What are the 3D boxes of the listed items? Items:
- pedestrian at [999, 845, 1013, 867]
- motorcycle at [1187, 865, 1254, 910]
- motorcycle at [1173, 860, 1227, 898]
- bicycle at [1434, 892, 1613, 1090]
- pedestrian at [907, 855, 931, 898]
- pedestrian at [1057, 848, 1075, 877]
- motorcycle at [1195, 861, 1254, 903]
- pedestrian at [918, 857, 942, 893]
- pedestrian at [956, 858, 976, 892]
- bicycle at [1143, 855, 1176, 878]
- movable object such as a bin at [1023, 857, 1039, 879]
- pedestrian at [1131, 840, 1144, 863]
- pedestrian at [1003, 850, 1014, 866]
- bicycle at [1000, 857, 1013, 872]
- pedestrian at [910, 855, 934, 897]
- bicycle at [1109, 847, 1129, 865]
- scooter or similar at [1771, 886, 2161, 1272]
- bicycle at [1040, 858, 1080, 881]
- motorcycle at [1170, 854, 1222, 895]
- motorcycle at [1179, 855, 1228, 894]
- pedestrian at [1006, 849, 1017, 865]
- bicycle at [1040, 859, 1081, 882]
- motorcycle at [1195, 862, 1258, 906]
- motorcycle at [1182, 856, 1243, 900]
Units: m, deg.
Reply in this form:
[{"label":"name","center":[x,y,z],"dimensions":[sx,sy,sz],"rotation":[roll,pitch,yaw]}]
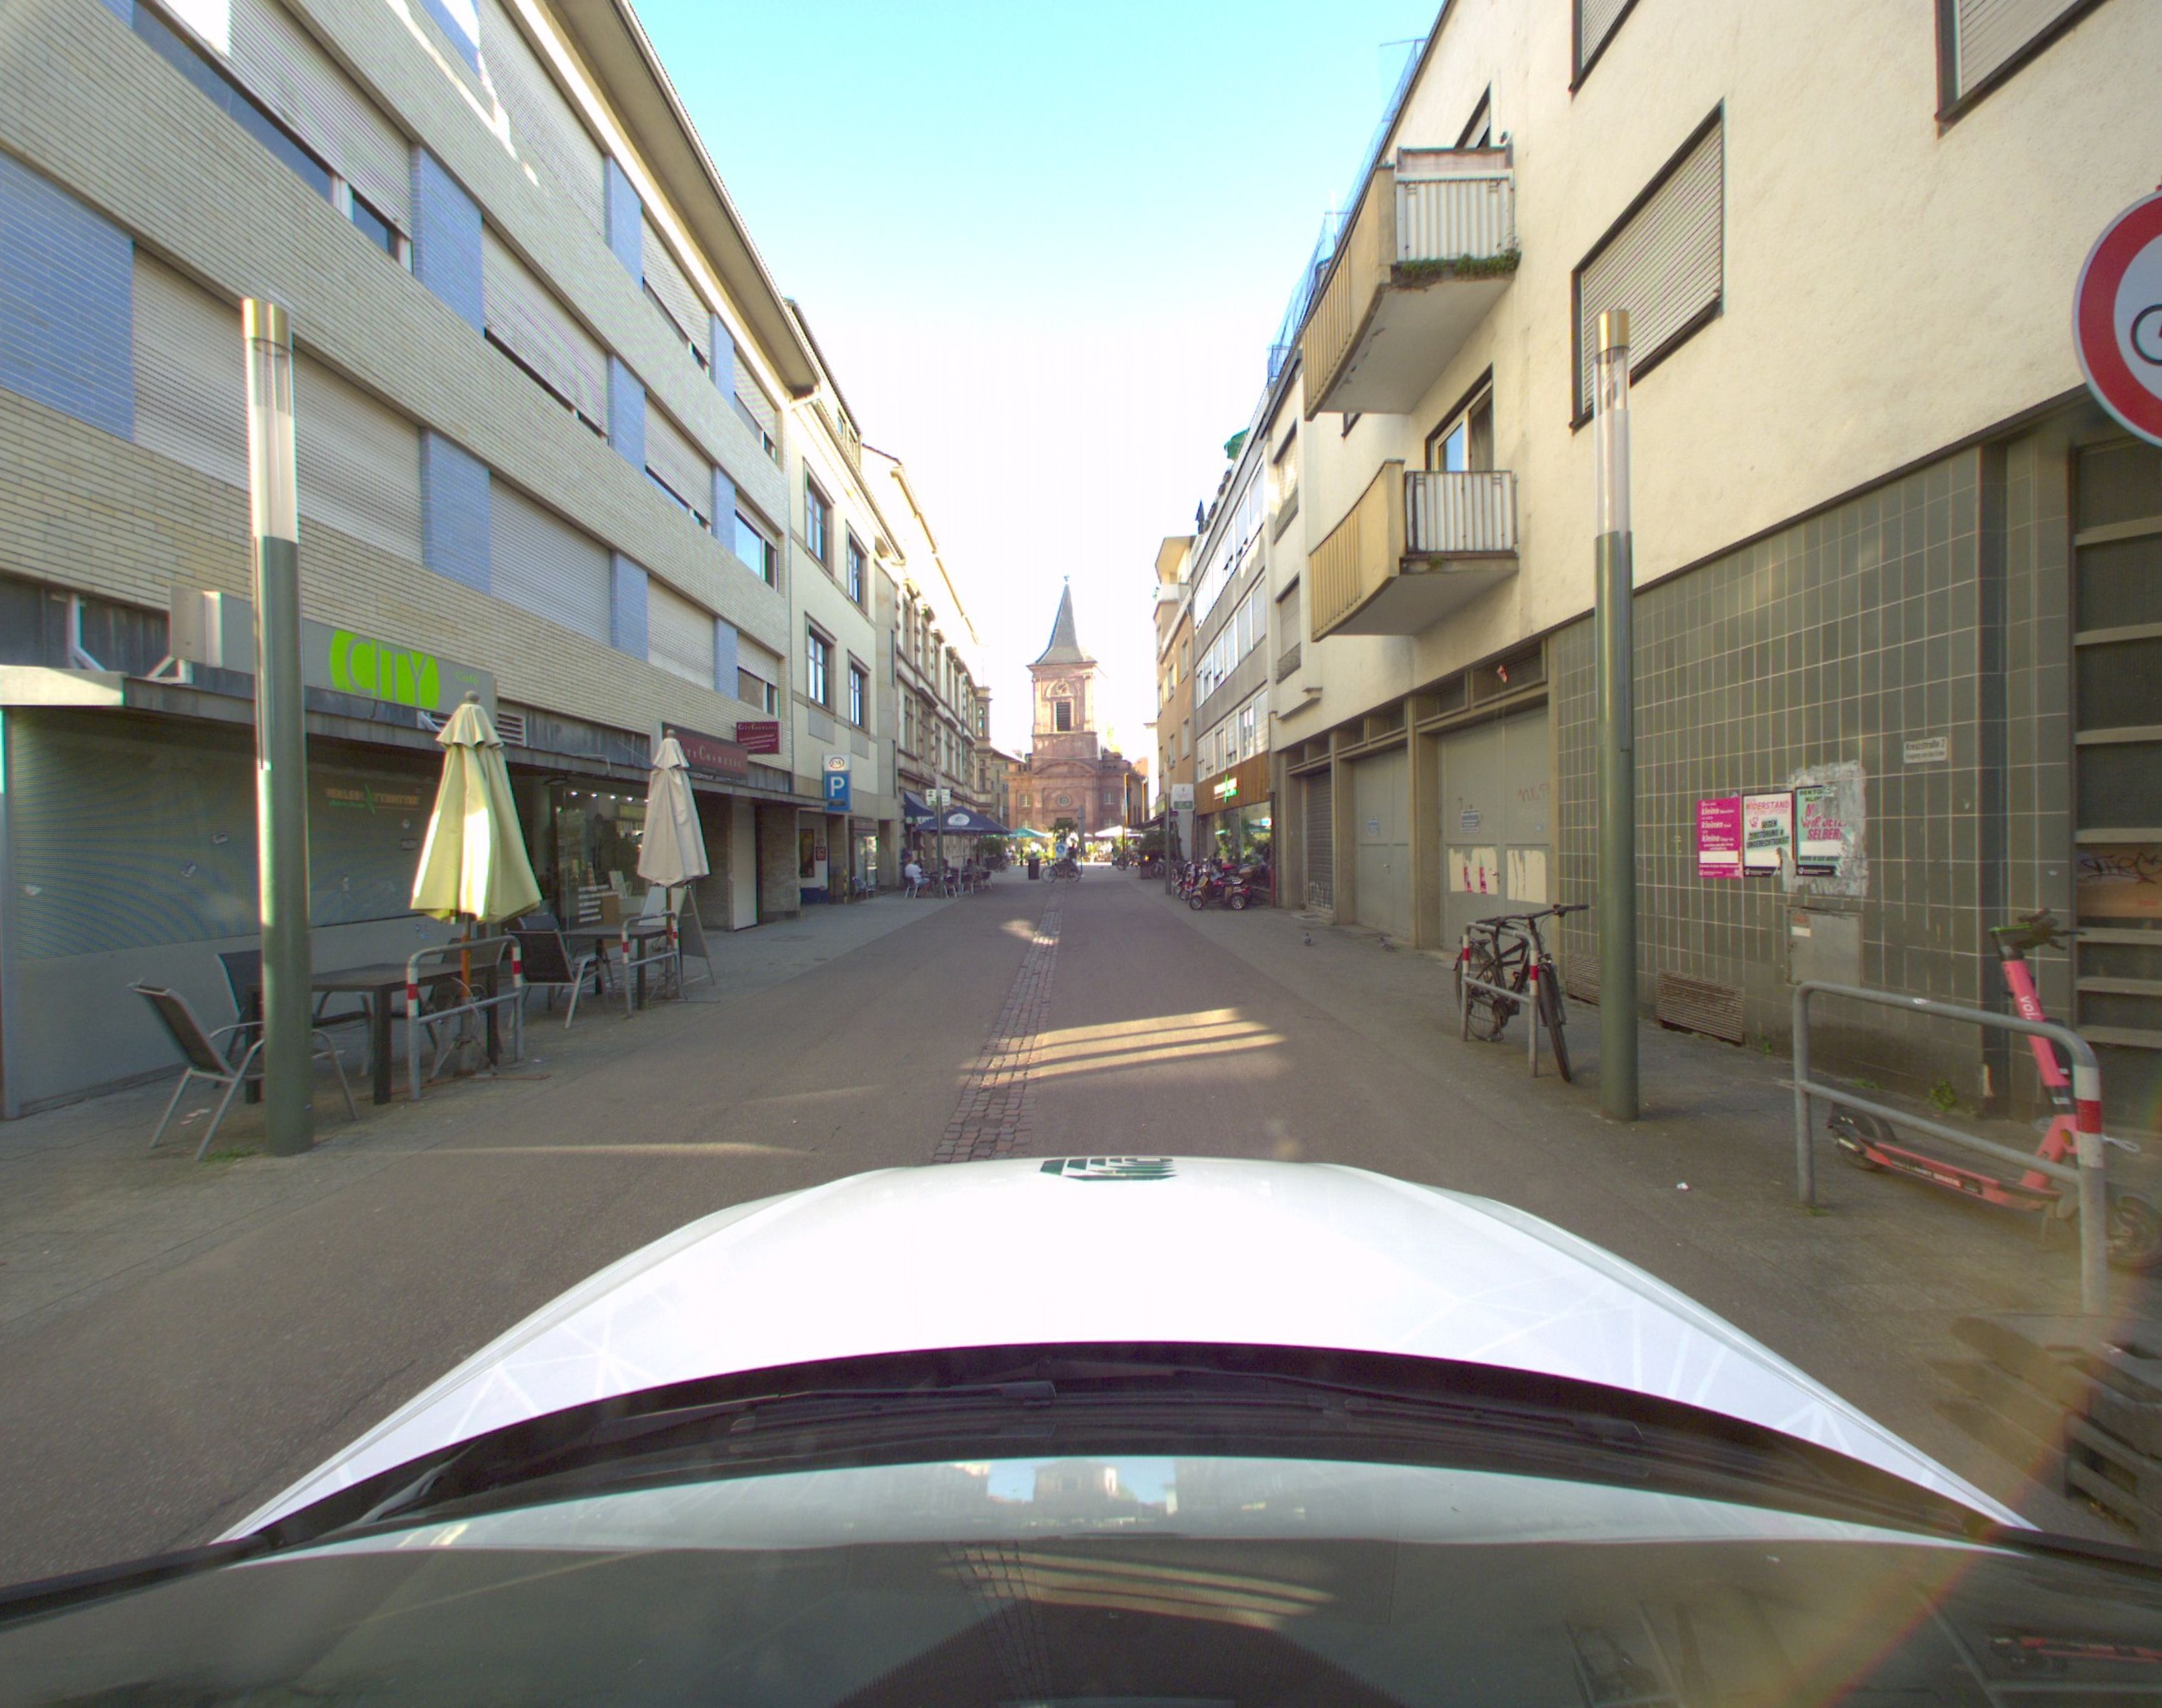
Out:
[{"label":"pedestrian","center":[-5.400,0.170,58.537],"dimensions":[0.777,1.555,0.538],"rotation":[-1,0,22]},{"label":"motorcycle","center":[3.387,0.818,19.812],"dimensions":[1.552,1.041,0.374],"rotation":[-2,0,17]},{"label":"motorcycle","center":[3.441,0.718,23.504],"dimensions":[1.472,1.075,0.414],"rotation":[-2,0,17]},{"label":"bicycle","center":[3.060,0.873,5.810],"dimensions":[0.444,1.140,1.712],"rotation":[-1,-1,4]},{"label":"pedestrian","center":[-5.220,0.715,26.246],"dimensions":[0.709,1.368,0.717],"rotation":[-1,0,-13]},{"label":"pedestrian","center":[-0.739,0.419,41.215],"dimensions":[0.881,1.464,0.731],"rotation":[-1,0,-1]},{"label":"motorcycle","center":[3.800,0.746,21.543],"dimensions":[1.472,1.075,0.414],"rotation":[-2,0,17]},{"label":"pedestrian","center":[-5.351,0.737,28.926],"dimensions":[0.765,1.233,0.829],"rotation":[-1,0,-9]},{"label":"pedestrian","center":[-4.183,0.748,29.662],"dimensions":[0.692,1.215,0.581],"rotation":[-1,0,-9]},{"label":"bicycle","center":[3.506,0.542,36.425],"dimensions":[1.456,1.005,0.574],"rotation":[-1,0,6]},{"label":"movable object such as a bin","center":[-2.446,0.684,39.917],"dimensions":[0.719,1.074,0.374],"rotation":[-1,0,-3]},{"label":"pedestrian","center":[4.042,-0.170,58.449],"dimensions":[0.616,1.641,0.650],"rotation":[-1,0,-42]},{"label":"pedestrian","center":[-5.602,0.291,63.010],"dimensions":[0.697,1.218,0.720],"rotation":[-1,0,5]},{"label":"bicycle","center":[-4.468,0.646,49.050],"dimensions":[0.455,0.850,2.148],"rotation":[-1,0,3]},{"label":"pedestrian","center":[-5.326,0.726,27.262],"dimensions":[0.718,1.368,0.707],"rotation":[-1,0,-13]},{"label":"bicycle","center":[2.936,0.139,62.523],"dimensions":[1.596,1.308,0.362],"rotation":[-1,0,-30]},{"label":"scooter or similar","center":[3.594,0.786,3.393],"dimensions":[0.306,1.252,1.237],"rotation":[-1,0,-4]},{"label":"bicycle","center":[-0.957,0.709,37.117],"dimensions":[1.820,1.005,0.381],"rotation":[-1,0,-5]},{"label":"motorcycle","center":[3.458,0.624,24.488],"dimensions":[1.473,1.181,0.414],"rotation":[-2,0,14]},{"label":"motorcycle","center":[3.837,0.643,25.535],"dimensions":[1.473,1.181,0.414],"rotation":[-2,0,14]},{"label":"pedestrian","center":[-5.514,0.215,64.443],"dimensions":[0.697,1.218,0.720],"rotation":[-1,0,5]},{"label":"bicycle","center":[-0.923,0.731,36.712],"dimensions":[1.820,1.005,0.381],"rotation":[-1,0,-5]},{"label":"motorcycle","center":[3.680,0.760,20.584],"dimensions":[1.505,1.075,0.414],"rotation":[-2,0,17]},{"label":"motorcycle","center":[3.678,0.674,22.790],"dimensions":[1.612,1.175,0.482],"rotation":[-2,0,17]}]
